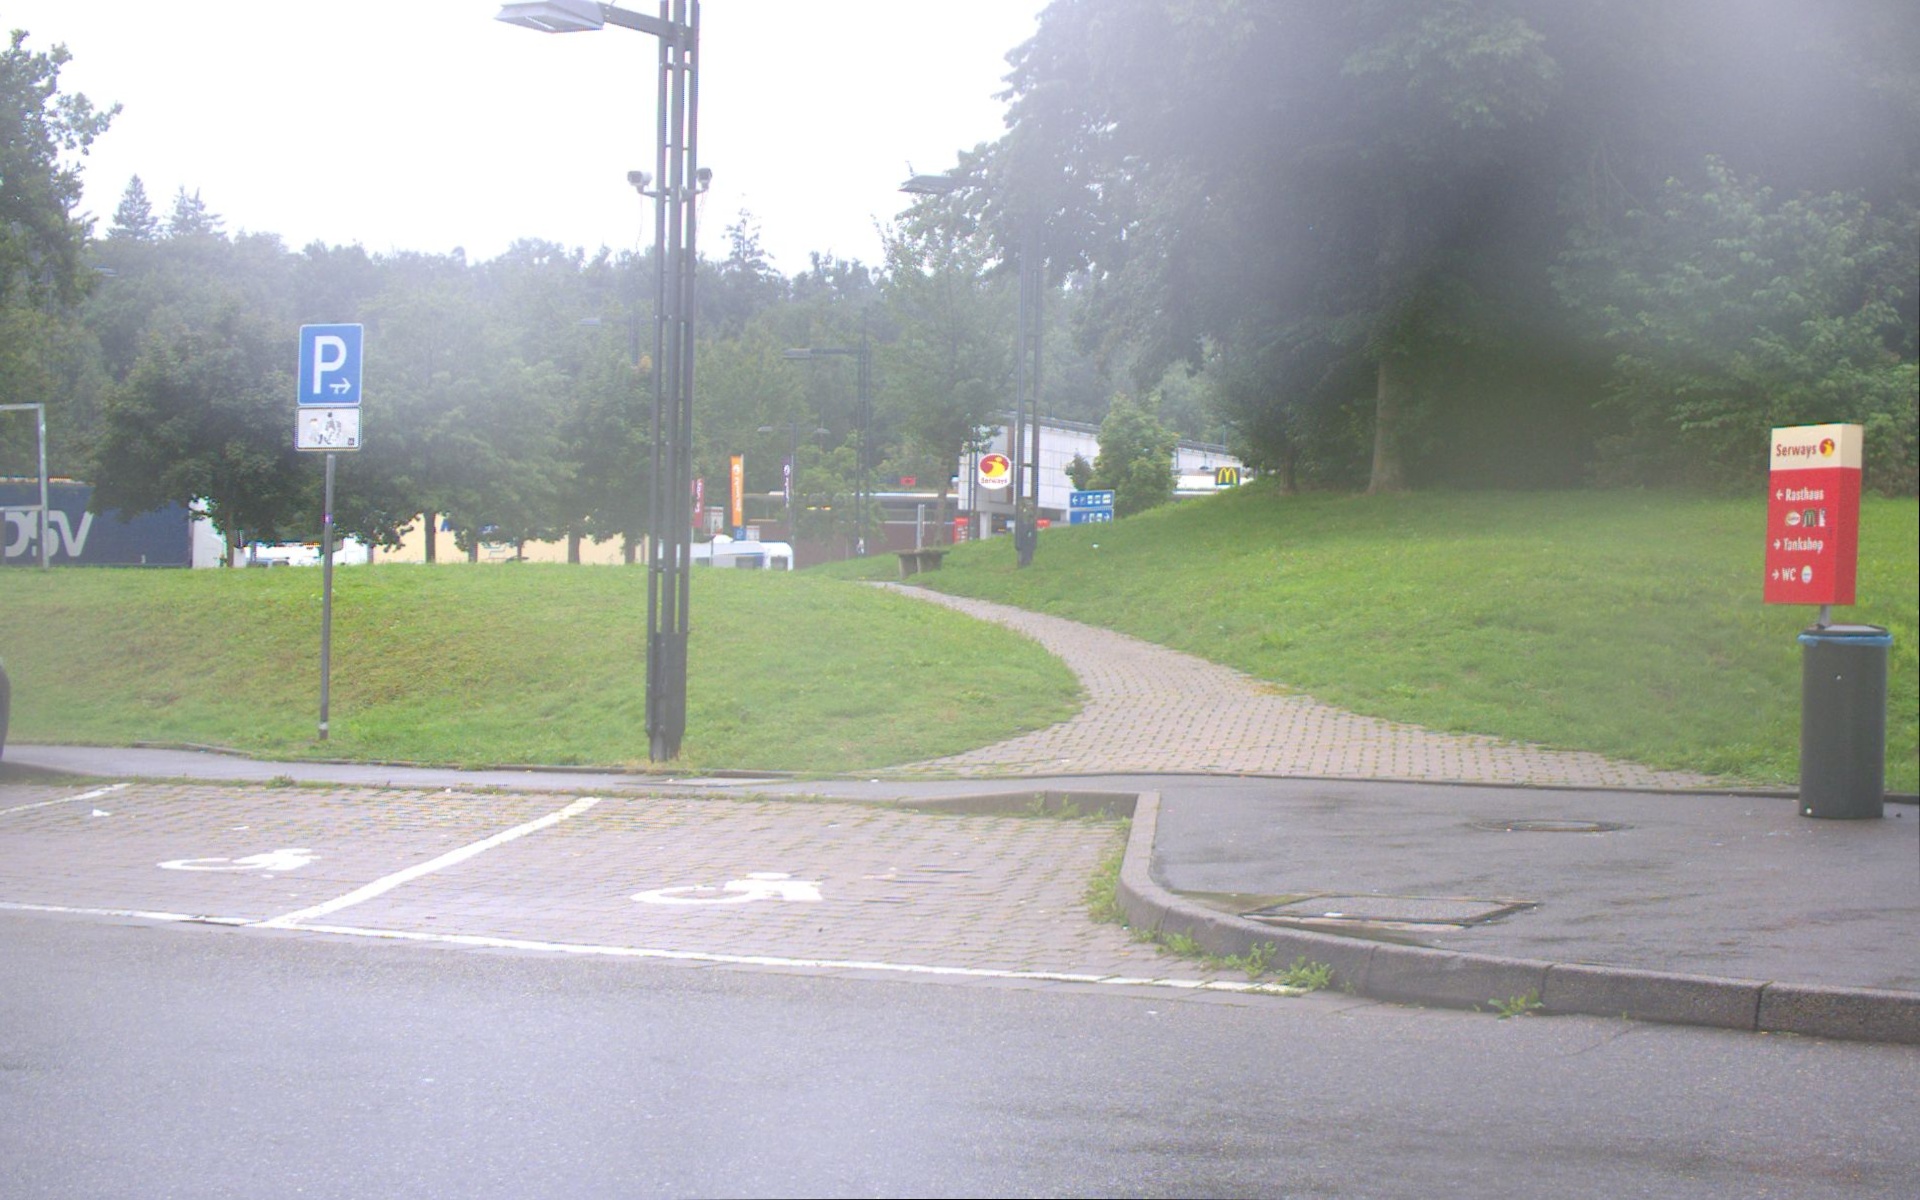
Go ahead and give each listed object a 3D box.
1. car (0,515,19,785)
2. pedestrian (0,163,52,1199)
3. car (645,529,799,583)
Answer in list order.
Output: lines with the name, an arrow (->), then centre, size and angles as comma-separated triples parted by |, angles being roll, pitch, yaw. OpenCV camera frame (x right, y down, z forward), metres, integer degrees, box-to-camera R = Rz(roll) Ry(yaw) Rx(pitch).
car -> -7.767, 0.376, 21.446 | 1.885, 1.821, 4.411 | 0, 1, 11
pedestrian -> -1.182, 0.547, 2.307 | 0.795, 1.728, 0.839 | 0, 1, 16
car -> -9.256, -1.726, 133.774 | 5.429, 2.007, 2.453 | 1, 1, 20
